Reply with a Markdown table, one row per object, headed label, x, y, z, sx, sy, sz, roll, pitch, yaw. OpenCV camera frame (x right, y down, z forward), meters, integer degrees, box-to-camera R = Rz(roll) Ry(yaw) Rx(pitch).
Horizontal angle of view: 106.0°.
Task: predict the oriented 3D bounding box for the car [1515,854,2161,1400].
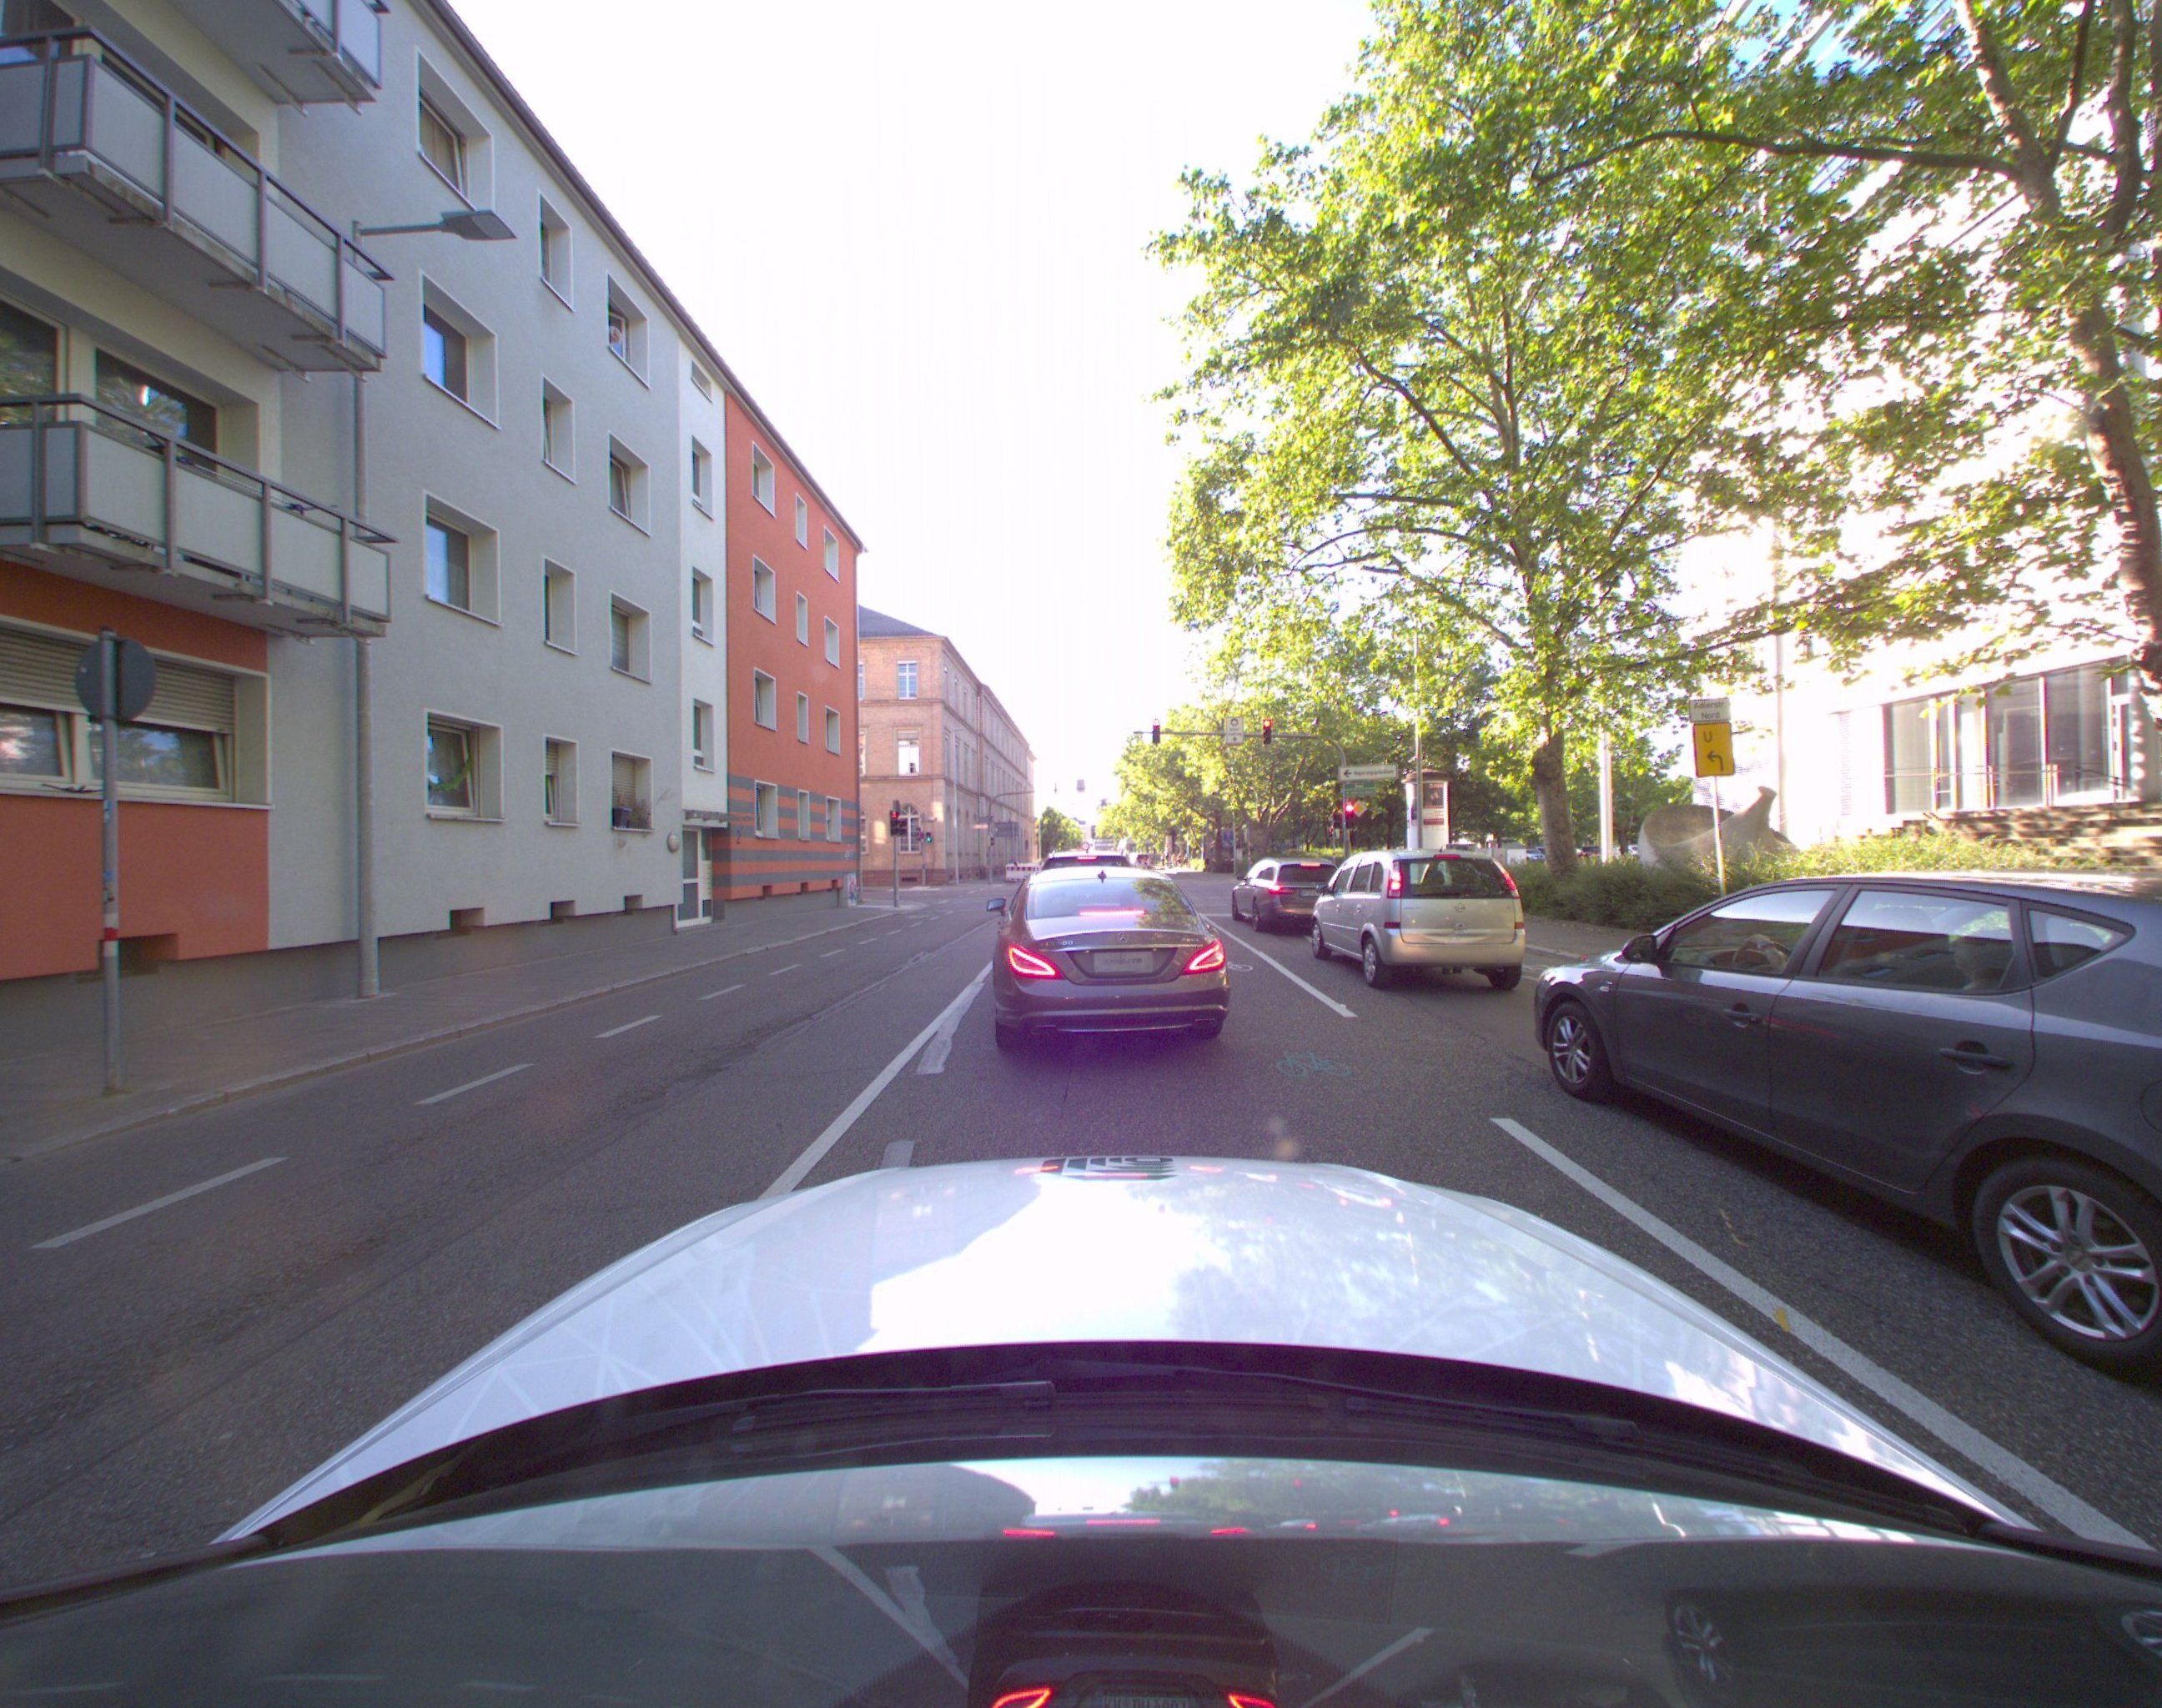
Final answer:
| label | x | y | z | sx | sy | sz | roll | pitch | yaw |
| --- | --- | --- | --- | --- | --- | --- | --- | --- | --- |
| car | 3.811 | 0.753 | 3.718 | 1.638 | 1.482 | 3.978 | 1 | 0 | 2 |

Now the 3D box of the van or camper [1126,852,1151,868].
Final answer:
| label | x | y | z | sx | sy | sz | roll | pitch | yaw |
| --- | --- | --- | --- | --- | --- | --- | --- | --- | --- |
| van or camper | 7.087 | 0.743 | 101.353 | 1.994 | 1.941 | 4.578 | -1 | 0 | -10 |

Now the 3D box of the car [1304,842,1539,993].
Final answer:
| label | x | y | z | sx | sy | sz | roll | pitch | yaw |
| --- | --- | --- | --- | --- | --- | --- | --- | --- | --- |
| car | 4.197 | 0.685 | 10.716 | 1.694 | 1.603 | 3.863 | 1 | 0 | 4 |

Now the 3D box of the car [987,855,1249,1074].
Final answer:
| label | x | y | z | sx | sy | sz | roll | pitch | yaw |
| --- | --- | --- | --- | --- | --- | --- | --- | --- | --- |
| car | 0.076 | 0.751 | 7.768 | 1.801 | 1.456 | 4.342 | -1 | 0 | -5 |

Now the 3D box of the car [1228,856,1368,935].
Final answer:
| label | x | y | z | sx | sy | sz | roll | pitch | yaw |
| --- | --- | --- | --- | --- | --- | --- | --- | --- | --- |
| car | 4.464 | 0.772 | 17.479 | 1.905 | 1.464 | 4.671 | 0 | 0 | 2 |

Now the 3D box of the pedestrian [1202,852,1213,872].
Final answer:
| label | x | y | z | sx | sy | sz | roll | pitch | yaw |
| --- | --- | --- | --- | --- | --- | --- | --- | --- | --- |
| pedestrian | 10.335 | 0.620 | 66.540 | 0.827 | 1.606 | 0.652 | -1 | 0 | 1 |

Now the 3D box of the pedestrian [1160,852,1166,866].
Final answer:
| label | x | y | z | sx | sy | sz | roll | pitch | yaw |
| --- | --- | --- | --- | --- | --- | --- | --- | --- | --- |
| pedestrian | 10.550 | 0.632 | 104.854 | 0.699 | 1.837 | 0.736 | -1 | 0 | -1 |

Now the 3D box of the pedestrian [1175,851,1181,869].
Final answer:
| label | x | y | z | sx | sy | sz | roll | pitch | yaw |
| --- | --- | --- | --- | --- | --- | --- | --- | --- | --- |
| pedestrian | 10.097 | 0.653 | 84.685 | 0.601 | 1.821 | 0.652 | -1 | 0 | 1 |

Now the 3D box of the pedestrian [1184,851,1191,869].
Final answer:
| label | x | y | z | sx | sy | sz | roll | pitch | yaw |
| --- | --- | --- | --- | --- | --- | --- | --- | --- | --- |
| pedestrian | 11.013 | 0.626 | 84.420 | 0.601 | 1.821 | 0.652 | -1 | 0 | 1 |

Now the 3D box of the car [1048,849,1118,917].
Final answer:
| label | x | y | z | sx | sy | sz | roll | pitch | yaw |
| --- | --- | --- | --- | --- | --- | --- | --- | --- | --- |
| car | 0.126 | 0.765 | 23.374 | 1.813 | 1.762 | 4.002 | -1 | 0 | 2 |

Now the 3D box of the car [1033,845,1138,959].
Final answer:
| label | x | y | z | sx | sy | sz | roll | pitch | yaw |
| --- | --- | --- | --- | --- | --- | --- | --- | --- | --- |
| car | 0.064 | 0.708 | 13.838 | 1.513 | 1.647 | 3.879 | -1 | 0 | 0 |

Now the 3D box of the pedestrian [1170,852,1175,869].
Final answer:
| label | x | y | z | sx | sy | sz | roll | pitch | yaw |
| --- | --- | --- | --- | --- | --- | --- | --- | --- | --- |
| pedestrian | 10.875 | 0.758 | 96.397 | 0.537 | 2.014 | 0.474 | 0 | -1 | 1 |
